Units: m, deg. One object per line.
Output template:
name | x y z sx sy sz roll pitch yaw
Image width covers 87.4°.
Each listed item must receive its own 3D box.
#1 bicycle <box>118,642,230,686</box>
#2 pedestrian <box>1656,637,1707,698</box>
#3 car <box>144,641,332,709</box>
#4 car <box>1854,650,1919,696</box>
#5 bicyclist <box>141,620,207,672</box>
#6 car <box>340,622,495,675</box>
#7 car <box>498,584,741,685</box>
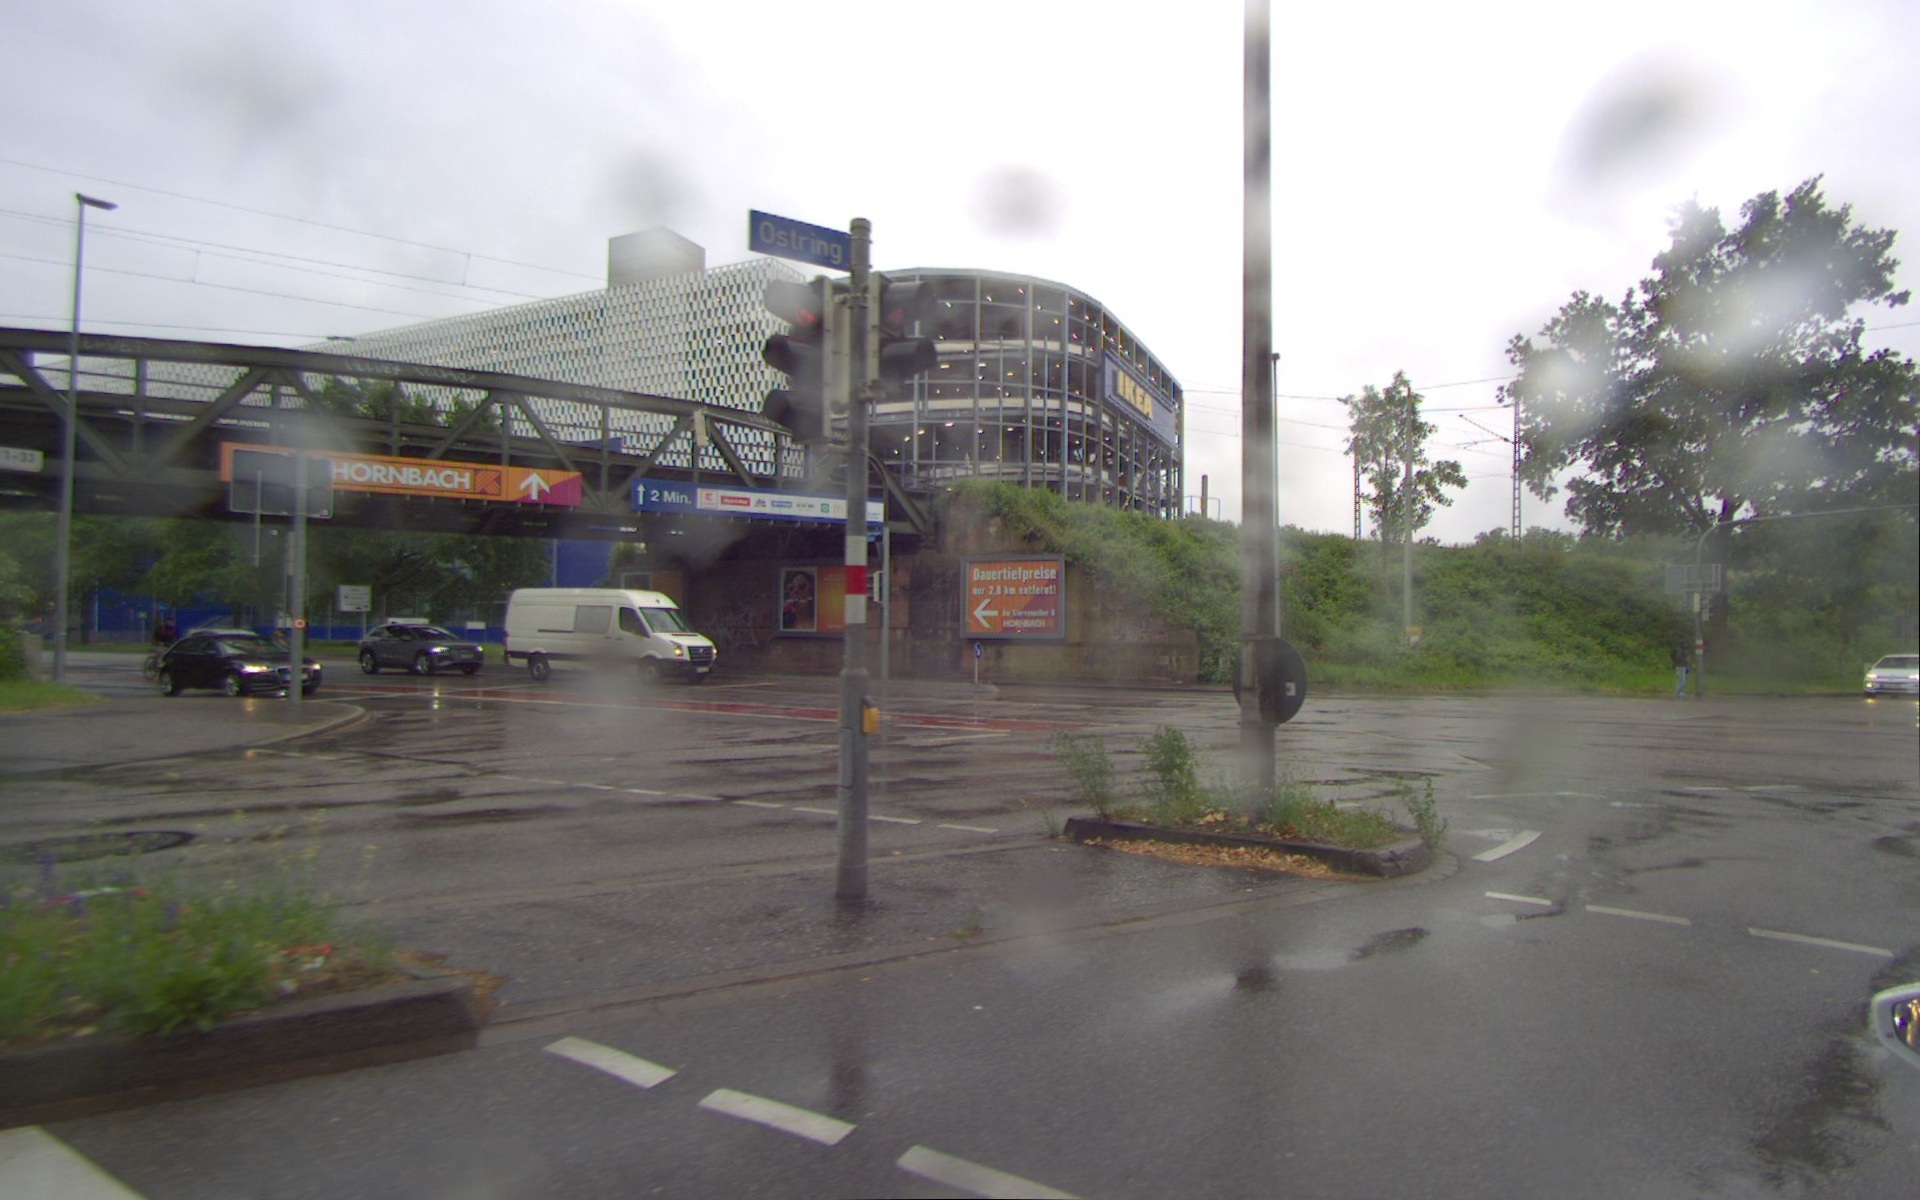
bicycle | -23.377 1.883 29.859 3.385 1.220 1.199 -1 -3 26
pedestrian | 22.766 2.105 31.693 1.122 1.871 1.092 3 -3 -41
car | -16.949 1.710 23.575 4.067 1.453 1.693 0 -2 23
car | 32.055 2.440 34.061 3.746 1.471 1.629 2 -3 -32
bicyclist | -23.370 1.364 29.878 1.037 1.503 1.152 -1 -3 25
car | -17.788 1.562 32.900 4.859 1.621 1.882 0 -2 25
car | -9.839 0.964 28.910 6.847 2.645 2.386 0 -2 26
